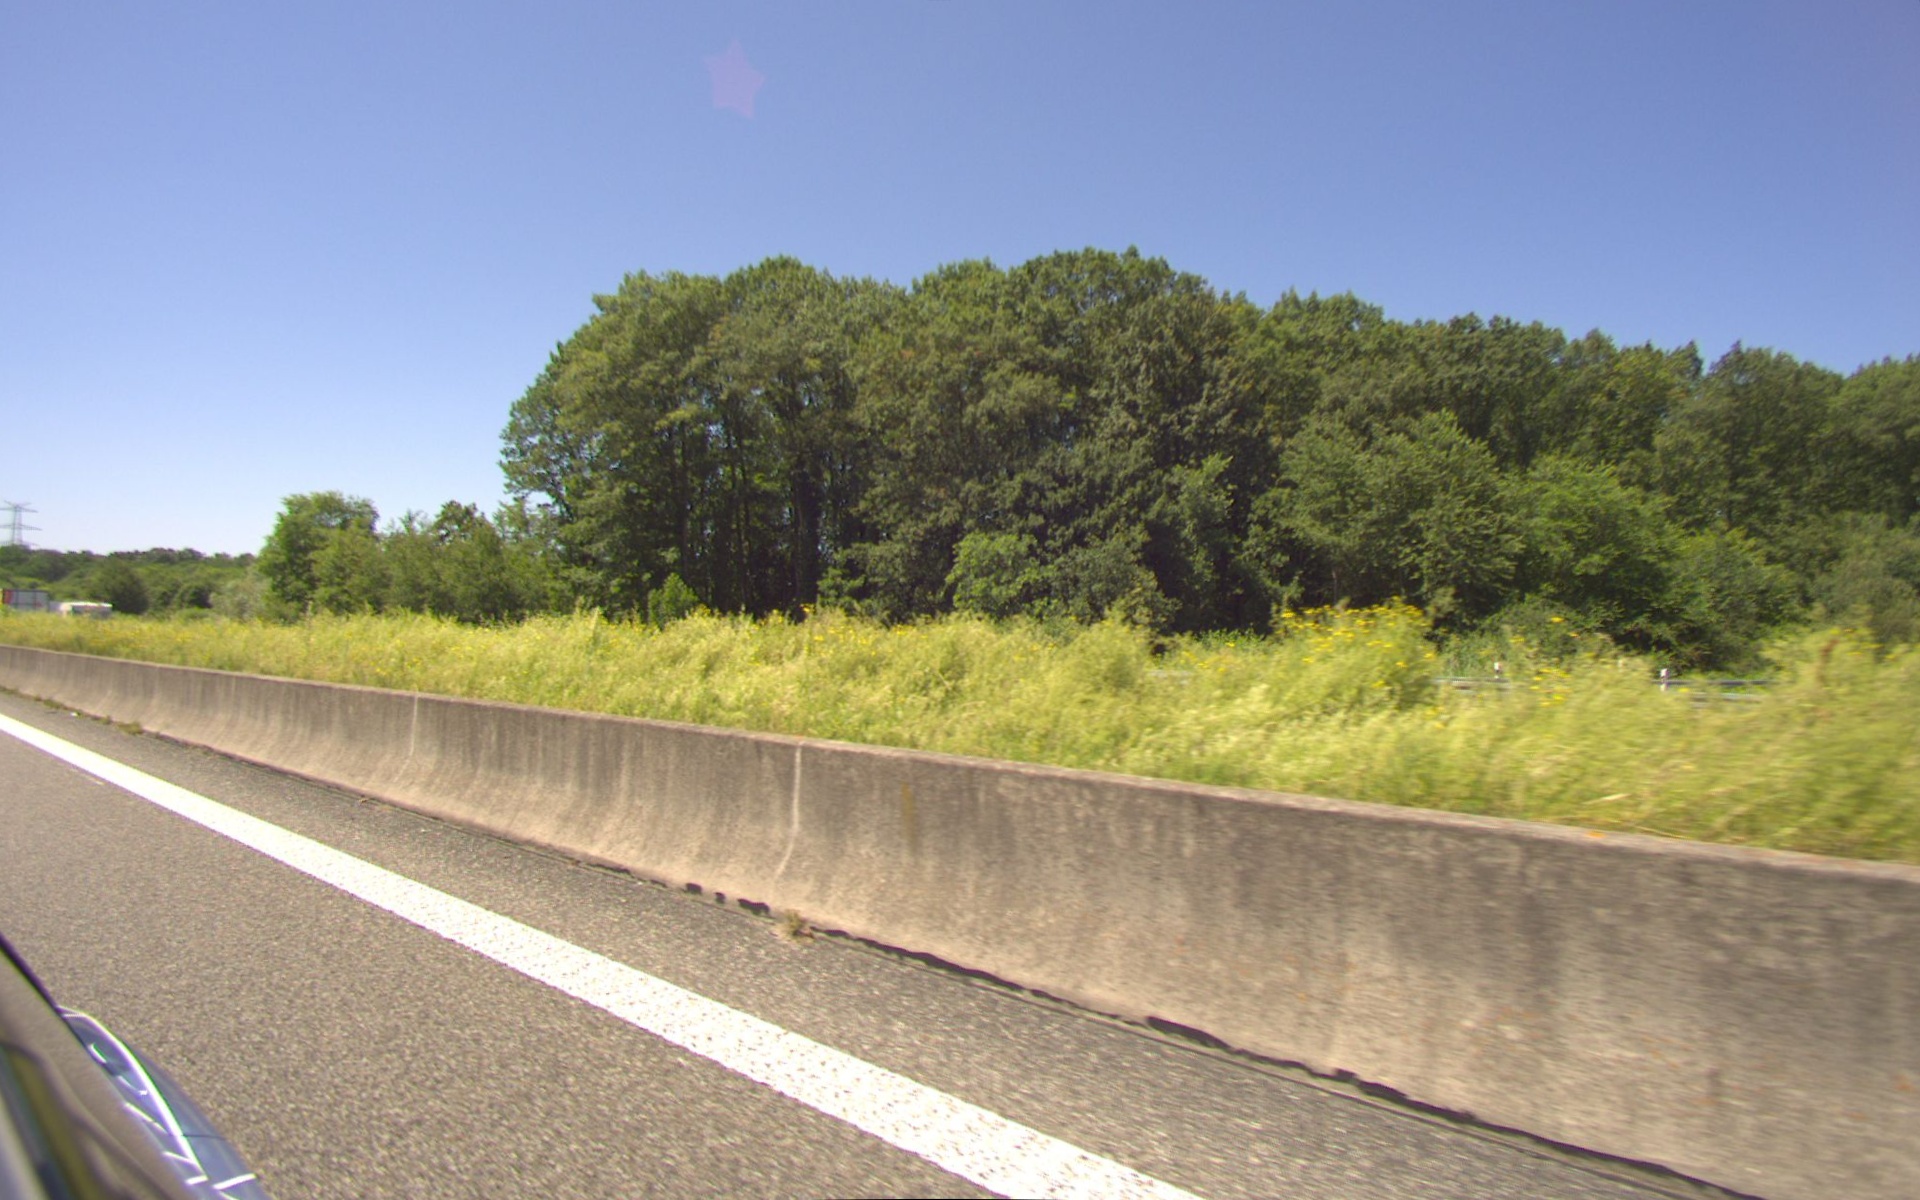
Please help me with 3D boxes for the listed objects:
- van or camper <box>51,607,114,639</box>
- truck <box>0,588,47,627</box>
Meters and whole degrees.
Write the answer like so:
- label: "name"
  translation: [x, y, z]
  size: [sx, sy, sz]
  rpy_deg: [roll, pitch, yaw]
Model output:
- label: "van or camper"
  translation: [-59.947, 1.525, 69.095]
  size: [5.880, 2.029, 2.200]
  rpy_deg: [0, 0, 39]
- label: "truck"
  translation: [-58.808, 0.467, 62.728]
  size: [6.071, 2.344, 2.289]
  rpy_deg: [0, -1, 38]
